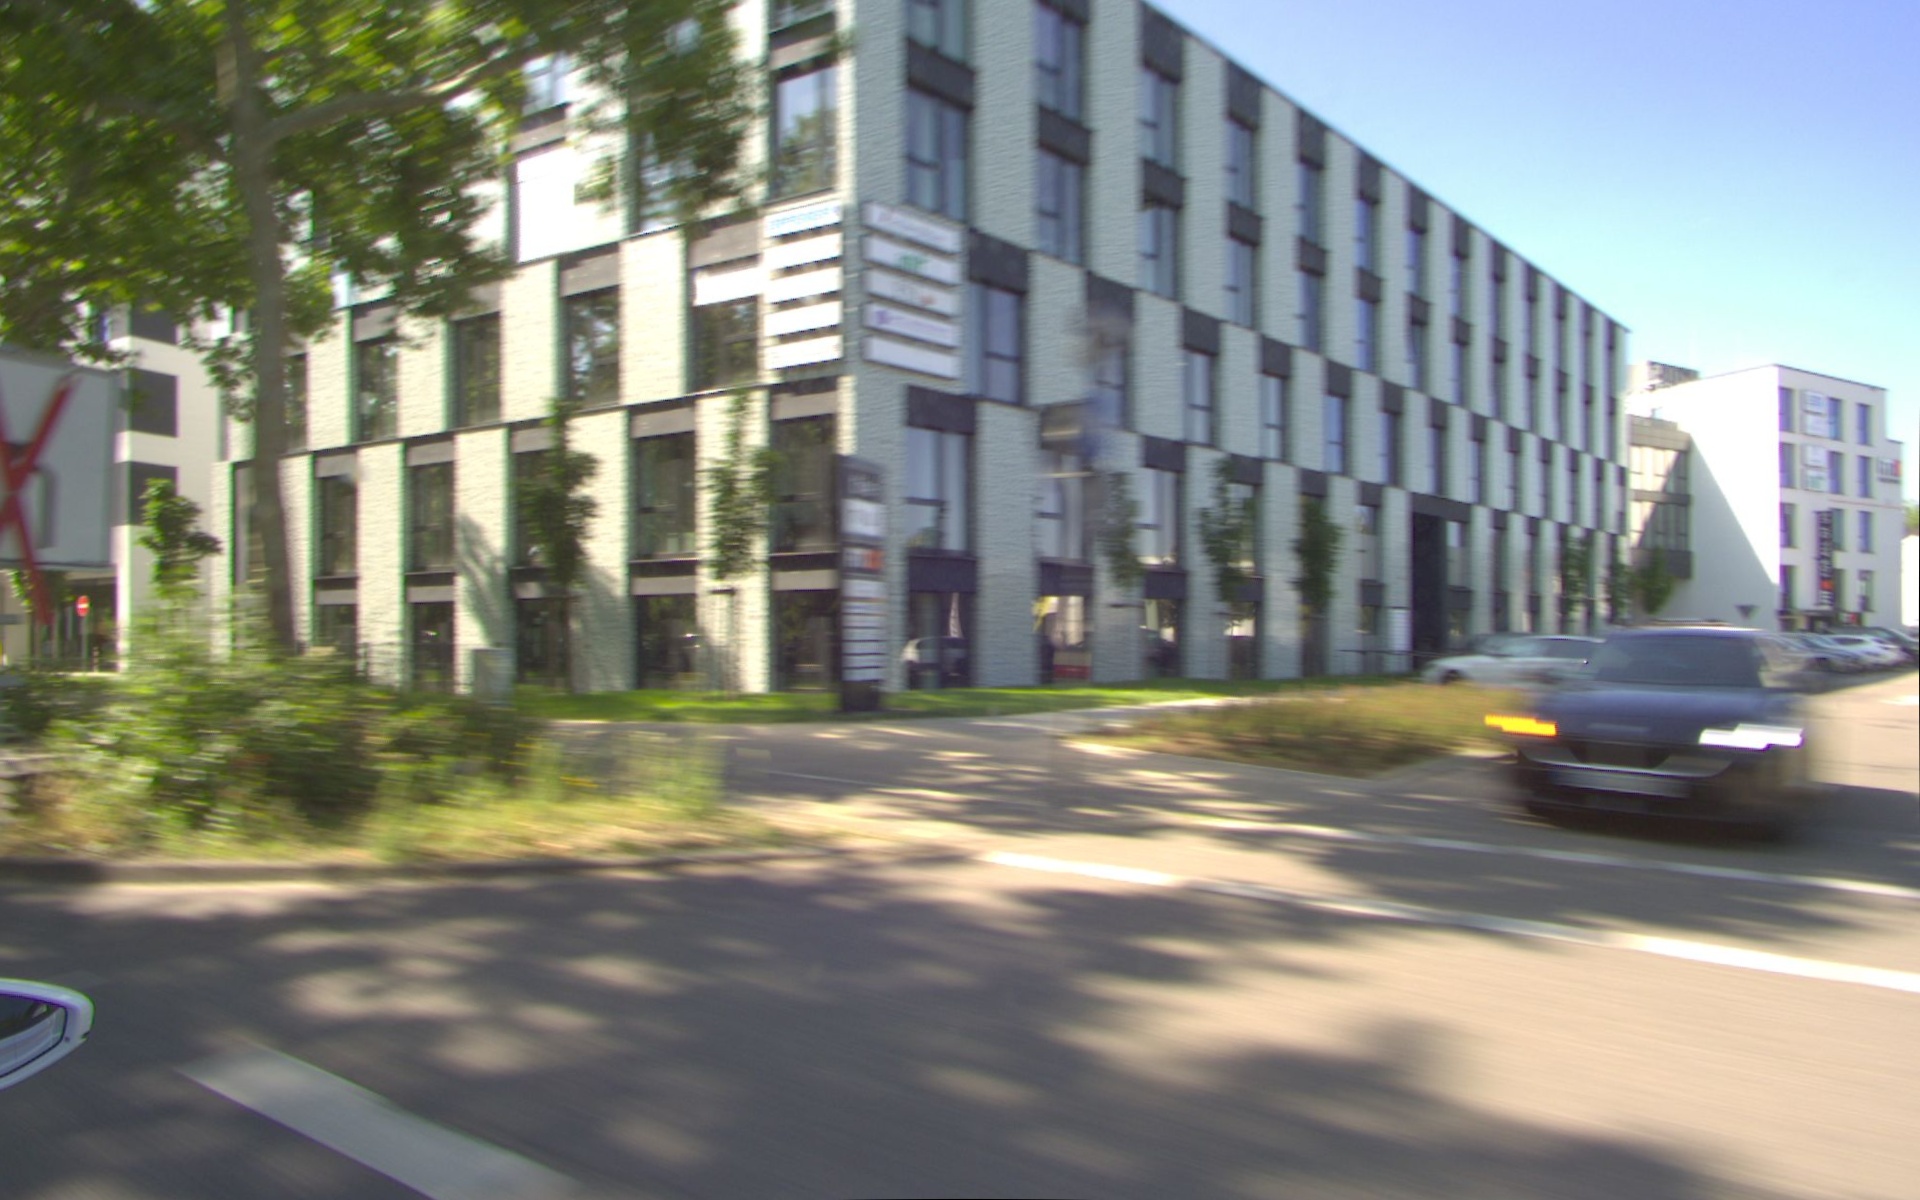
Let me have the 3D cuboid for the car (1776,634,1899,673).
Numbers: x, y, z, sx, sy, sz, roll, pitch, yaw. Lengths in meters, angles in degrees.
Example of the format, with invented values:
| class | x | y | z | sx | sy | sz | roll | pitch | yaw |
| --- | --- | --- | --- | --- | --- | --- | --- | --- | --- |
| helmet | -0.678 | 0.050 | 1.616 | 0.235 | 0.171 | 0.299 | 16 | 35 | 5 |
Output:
| class | x | y | z | sx | sy | sz | roll | pitch | yaw |
| --- | --- | --- | --- | --- | --- | --- | --- | --- | --- |
| car | 36.354 | 2.206 | 41.552 | 1.689 | 1.505 | 3.674 | 0 | -2 | -42 |

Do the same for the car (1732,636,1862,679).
| class | x | y | z | sx | sy | sz | roll | pitch | yaw |
| --- | --- | --- | --- | --- | --- | --- | --- | --- | --- |
| car | 30.490 | 2.048 | 36.522 | 1.632 | 1.396 | 3.497 | 0 | 0 | -43 |

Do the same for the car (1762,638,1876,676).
| class | x | y | z | sx | sy | sz | roll | pitch | yaw |
| --- | --- | --- | --- | --- | --- | --- | --- | --- | --- |
| car | 32.456 | 2.138 | 37.869 | 1.461 | 1.357 | 3.100 | 0 | -2 | -42 |

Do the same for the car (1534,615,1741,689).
| class | x | y | z | sx | sy | sz | roll | pitch | yaw |
| --- | --- | --- | --- | --- | --- | --- | --- | --- | --- |
| car | 18.685 | 1.400 | 27.783 | 1.980 | 1.875 | 4.441 | 2 | -2 | -42 |

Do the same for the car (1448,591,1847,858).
| class | x | y | z | sx | sy | sz | roll | pitch | yaw |
| --- | --- | --- | --- | --- | --- | --- | --- | --- | --- |
| car | 5.668 | 0.818 | 8.019 | 1.980 | 1.536 | 4.225 | -2 | -3 | 44 |

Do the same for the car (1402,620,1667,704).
| class | x | y | z | sx | sy | sz | roll | pitch | yaw |
| --- | --- | --- | --- | --- | --- | --- | --- | --- | --- |
| car | 11.906 | 1.218 | 20.983 | 1.980 | 1.572 | 4.440 | 2 | -2 | -42 |

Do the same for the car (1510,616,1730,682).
| class | x | y | z | sx | sy | sz | roll | pitch | yaw |
| --- | --- | --- | --- | --- | --- | --- | --- | --- | --- |
| car | 16.956 | 1.237 | 25.893 | 1.980 | 1.571 | 4.441 | 2 | -3 | -42 |

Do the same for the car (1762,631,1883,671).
| class | x | y | z | sx | sy | sz | roll | pitch | yaw |
| --- | --- | --- | --- | --- | --- | --- | --- | --- | --- |
| car | 34.282 | 1.987 | 39.855 | 1.632 | 1.454 | 3.497 | 0 | 0 | -43 |

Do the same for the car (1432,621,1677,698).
| class | x | y | z | sx | sy | sz | roll | pitch | yaw |
| --- | --- | --- | --- | --- | --- | --- | --- | --- | --- |
| car | 13.447 | 1.292 | 22.843 | 1.980 | 1.572 | 4.440 | 2 | -2 | -42 |

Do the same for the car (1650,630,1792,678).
| class | x | y | z | sx | sy | sz | roll | pitch | yaw |
| --- | --- | --- | --- | --- | --- | --- | --- | --- | --- |
| car | 24.885 | 1.722 | 32.798 | 1.632 | 1.396 | 3.497 | 0 | 0 | -43 |

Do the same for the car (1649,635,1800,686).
| class | x | y | z | sx | sy | sz | roll | pitch | yaw |
| --- | --- | --- | --- | --- | --- | --- | --- | --- | --- |
| car | 23.442 | 1.814 | 30.781 | 1.632 | 1.396 | 3.497 | 0 | 0 | -43 |

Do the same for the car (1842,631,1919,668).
| class | x | y | z | sx | sy | sz | roll | pitch | yaw |
| --- | --- | --- | --- | --- | --- | --- | --- | --- | --- |
| car | 42.604 | 2.252 | 45.266 | 1.835 | 1.481 | 3.764 | 1 | 1 | -37 |
